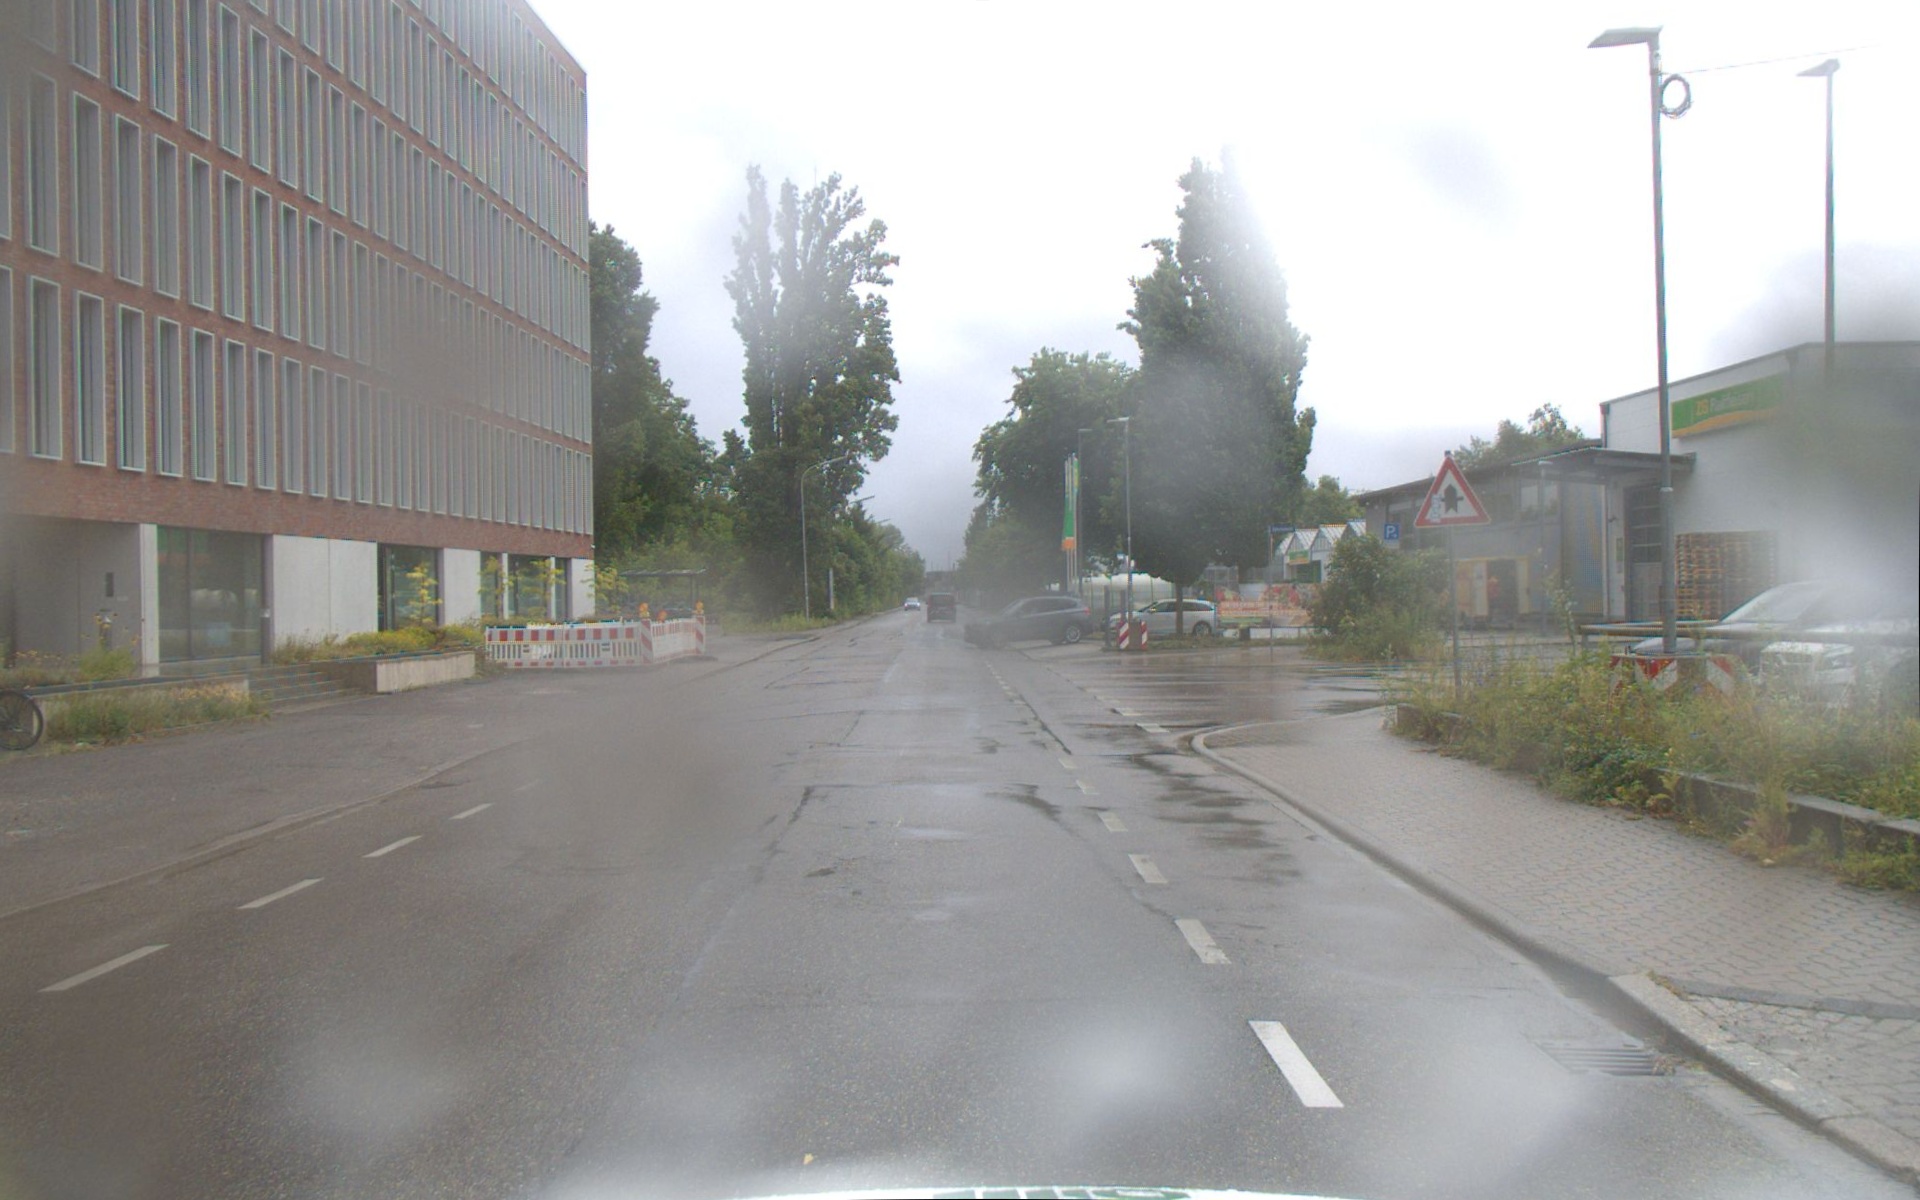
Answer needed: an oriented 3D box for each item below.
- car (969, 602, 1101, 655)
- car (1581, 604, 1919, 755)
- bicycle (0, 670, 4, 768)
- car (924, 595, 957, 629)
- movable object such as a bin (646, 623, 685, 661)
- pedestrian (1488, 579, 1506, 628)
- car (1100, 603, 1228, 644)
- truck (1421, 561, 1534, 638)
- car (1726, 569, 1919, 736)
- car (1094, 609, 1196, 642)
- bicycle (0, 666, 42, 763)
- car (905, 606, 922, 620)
[{"bbox_3d":[2.496,0.935,55.188,4.066,1.596,1.758,-2,-1,-14],"label":"car"},{"bbox_3d":[9.534,0.856,18.869,4.139,1.425,1.886,-3,-2,-9],"label":"car"},{"bbox_3d":[-11.714,1.323,18.374,1.822,1.096,0.544,1,-1,-2],"label":"bicycle"},{"bbox_3d":[-1.219,0.749,101.835,1.953,1.944,4.199,-1,-1,-2],"label":"car"},{"bbox_3d":[-10.425,1.479,58.646,1.271,1.331,1.446,-1,-1,-7],"label":"movable object such as a bin"},{"bbox_3d":[19.496,0.133,60.007,0.445,1.748,0.433,-2,-1,2],"label":"pedestrian"},{"bbox_3d":[7.738,0.889,63.032,4.608,1.488,1.889,0,-1,-2],"label":"car"},{"bbox_3d":[19.867,0.019,63.929,2.253,2.706,7.418,-2,-1,2],"label":"truck"},{"bbox_3d":[10.015,0.516,16.230,4.096,1.536,1.890,0,-2,0],"label":"car"},{"bbox_3d":[7.360,1.011,65.884,3.859,1.278,1.618,0,-1,-2],"label":"car"},{"bbox_3d":[-11.738,1.316,19.197,1.822,1.096,0.544,1,-1,-2],"label":"bicycle"},{"bbox_3d":[-5.264,1.453,188.941,1.698,1.475,4.380,-4,-1,0],"label":"car"}]
